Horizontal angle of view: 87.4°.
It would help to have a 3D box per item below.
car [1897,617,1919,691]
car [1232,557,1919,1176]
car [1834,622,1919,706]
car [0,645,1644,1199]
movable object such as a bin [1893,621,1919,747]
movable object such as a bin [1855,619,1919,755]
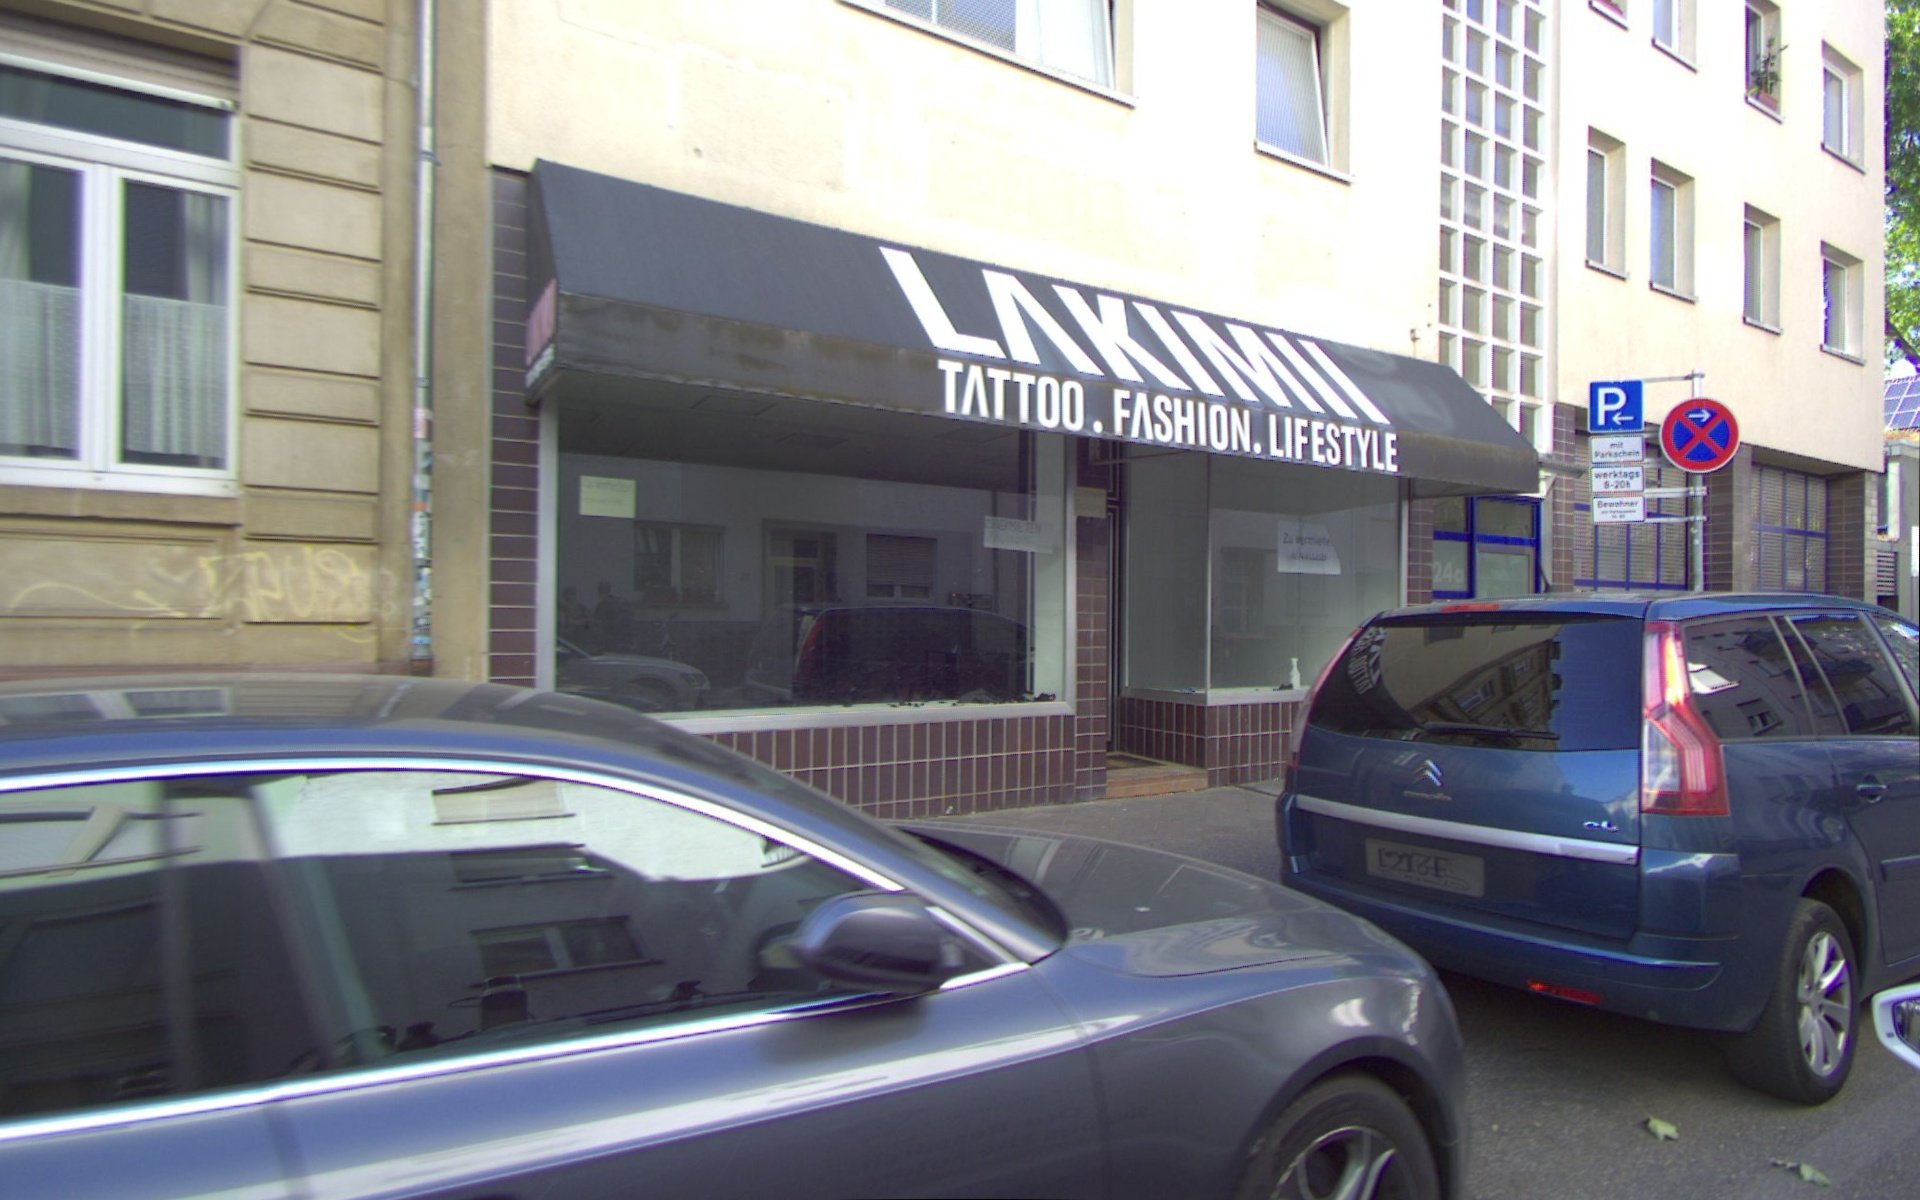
[{"bbox_3d":[22.890,1.269,21.032,1.895,1.631,4.440,2,0,-32],"label":"car"},{"bbox_3d":[3.587,0.798,4.720,4.616,1.688,1.774,1,-2,-31],"label":"car"},{"bbox_3d":[18.922,1.231,18.525,1.806,1.524,3.855,2,-1,-31],"label":"car"},{"bbox_3d":[-0.923,0.815,1.891,4.762,1.435,1.836,2,-3,-31],"label":"car"},{"bbox_3d":[12.333,1.038,12.124,1.143,1.518,1.299,2,-1,-31],"label":"movable object such as a bin"},{"bbox_3d":[11.350,1.003,11.538,1.165,1.518,1.290,2,-1,-31],"label":"movable object such as a bin"}]
